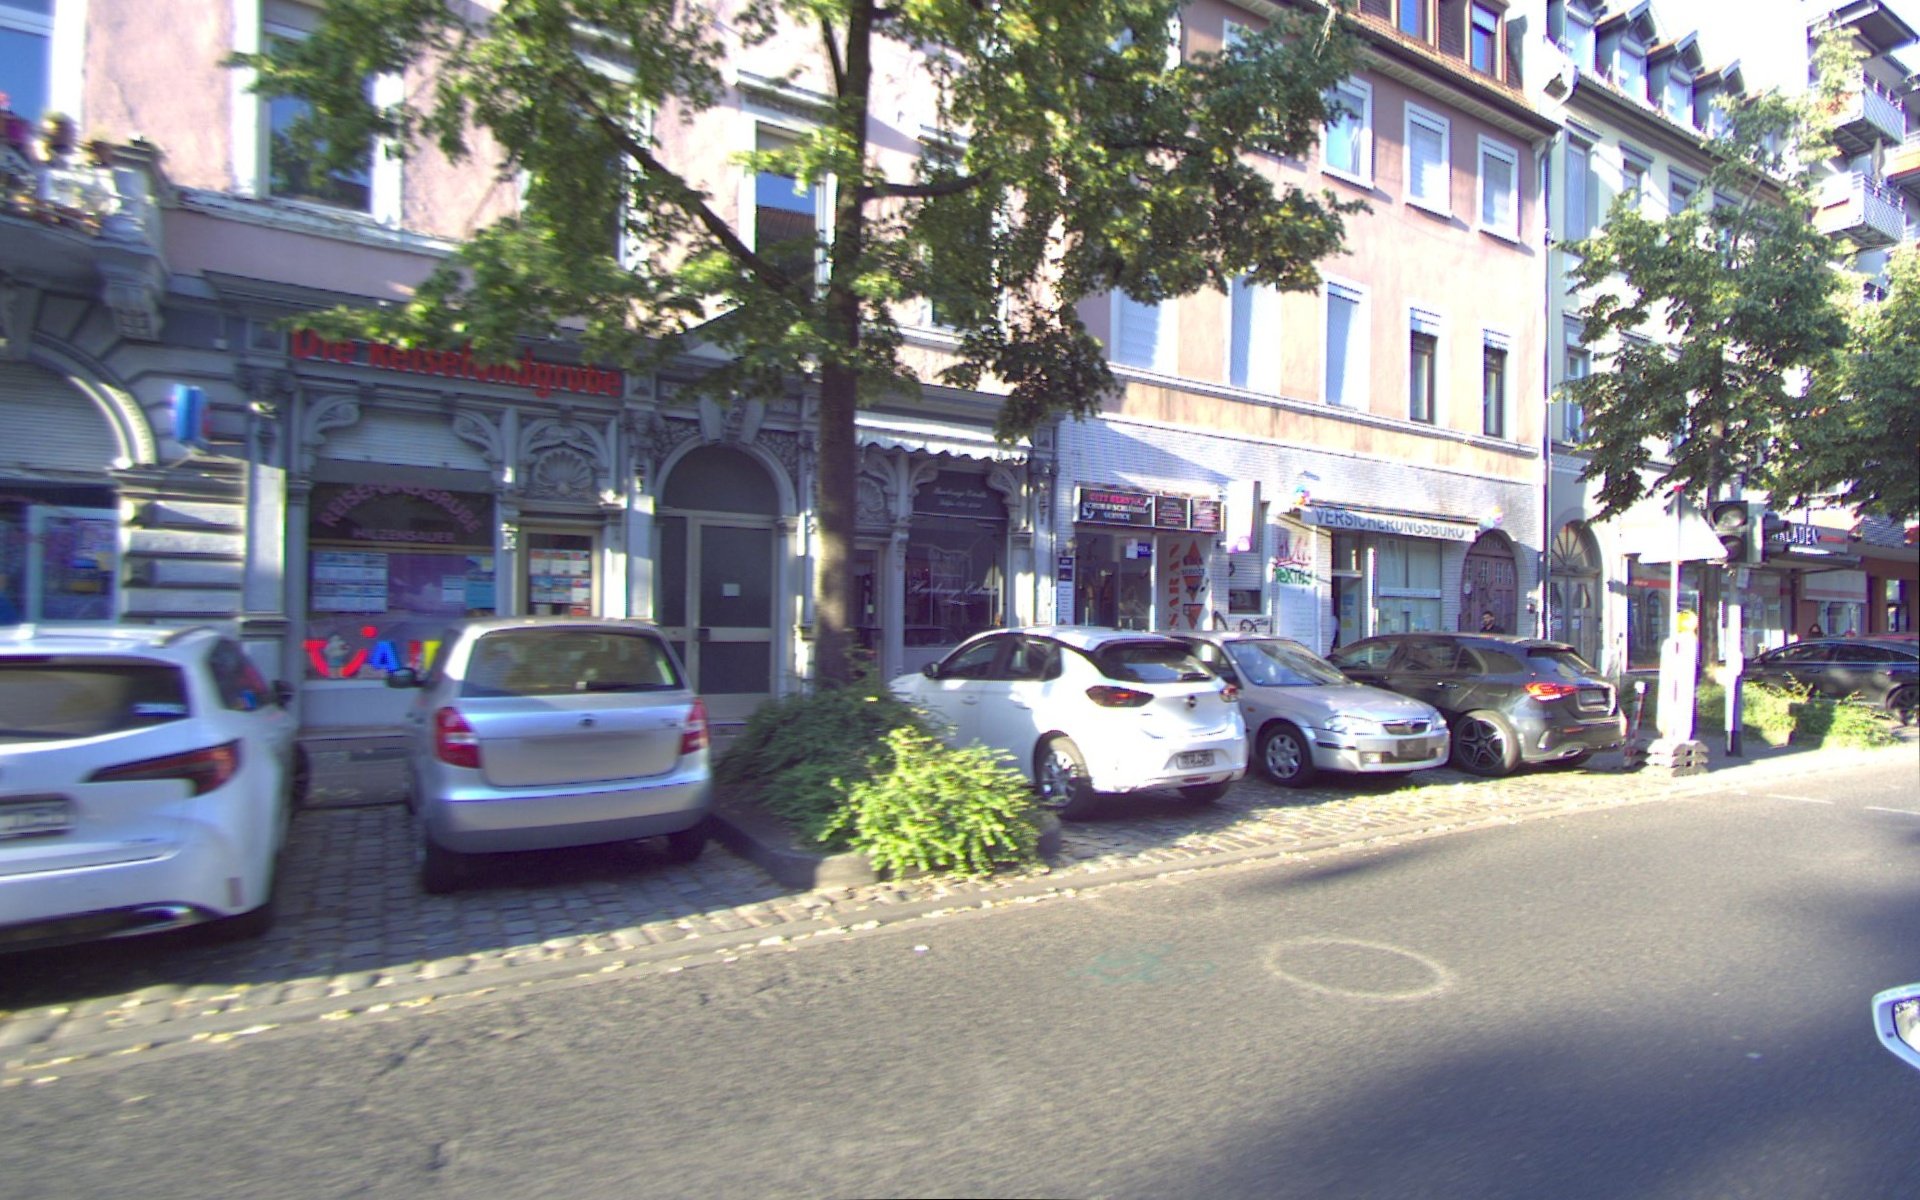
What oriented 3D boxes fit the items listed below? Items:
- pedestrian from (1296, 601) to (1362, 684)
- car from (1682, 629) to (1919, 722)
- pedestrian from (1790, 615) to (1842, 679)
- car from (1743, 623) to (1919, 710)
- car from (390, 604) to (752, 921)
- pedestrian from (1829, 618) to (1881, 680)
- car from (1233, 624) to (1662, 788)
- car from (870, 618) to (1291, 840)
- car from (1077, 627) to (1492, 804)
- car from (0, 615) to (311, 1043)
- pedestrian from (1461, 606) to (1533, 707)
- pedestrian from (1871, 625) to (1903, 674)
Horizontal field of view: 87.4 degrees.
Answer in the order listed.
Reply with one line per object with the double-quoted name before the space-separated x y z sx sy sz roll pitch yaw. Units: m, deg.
"pedestrian" 7.090 0.802 19.332 0.804 1.538 0.874 2 -1 -11
"car" 15.958 1.303 18.019 1.801 1.426 4.545 1 0 -32
"pedestrian" 22.453 1.238 26.348 0.866 1.629 0.768 3 -1 -31
"car" 18.249 1.285 19.808 1.862 1.557 4.052 1 0 -30
"car" -2.854 0.820 6.885 1.697 1.522 3.537 1 0 -32
"pedestrian" 22.948 1.247 25.756 0.866 1.548 0.730 3 -1 -31
"car" 5.363 1.041 11.575 1.864 1.422 4.083 1 0 -33
"car" 0.857 0.937 9.011 1.787 1.463 3.716 1 0 -33
"car" 3.166 1.034 10.664 1.821 1.422 4.080 1 -1 -29
"car" -4.505 0.843 5.311 1.748 1.440 4.125 1 0 -33
"pedestrian" 9.686 1.008 18.117 0.866 1.744 0.768 3 -1 -31
"pedestrian" 31.290 1.670 33.904 0.693 1.615 0.593 3 -3 -30
